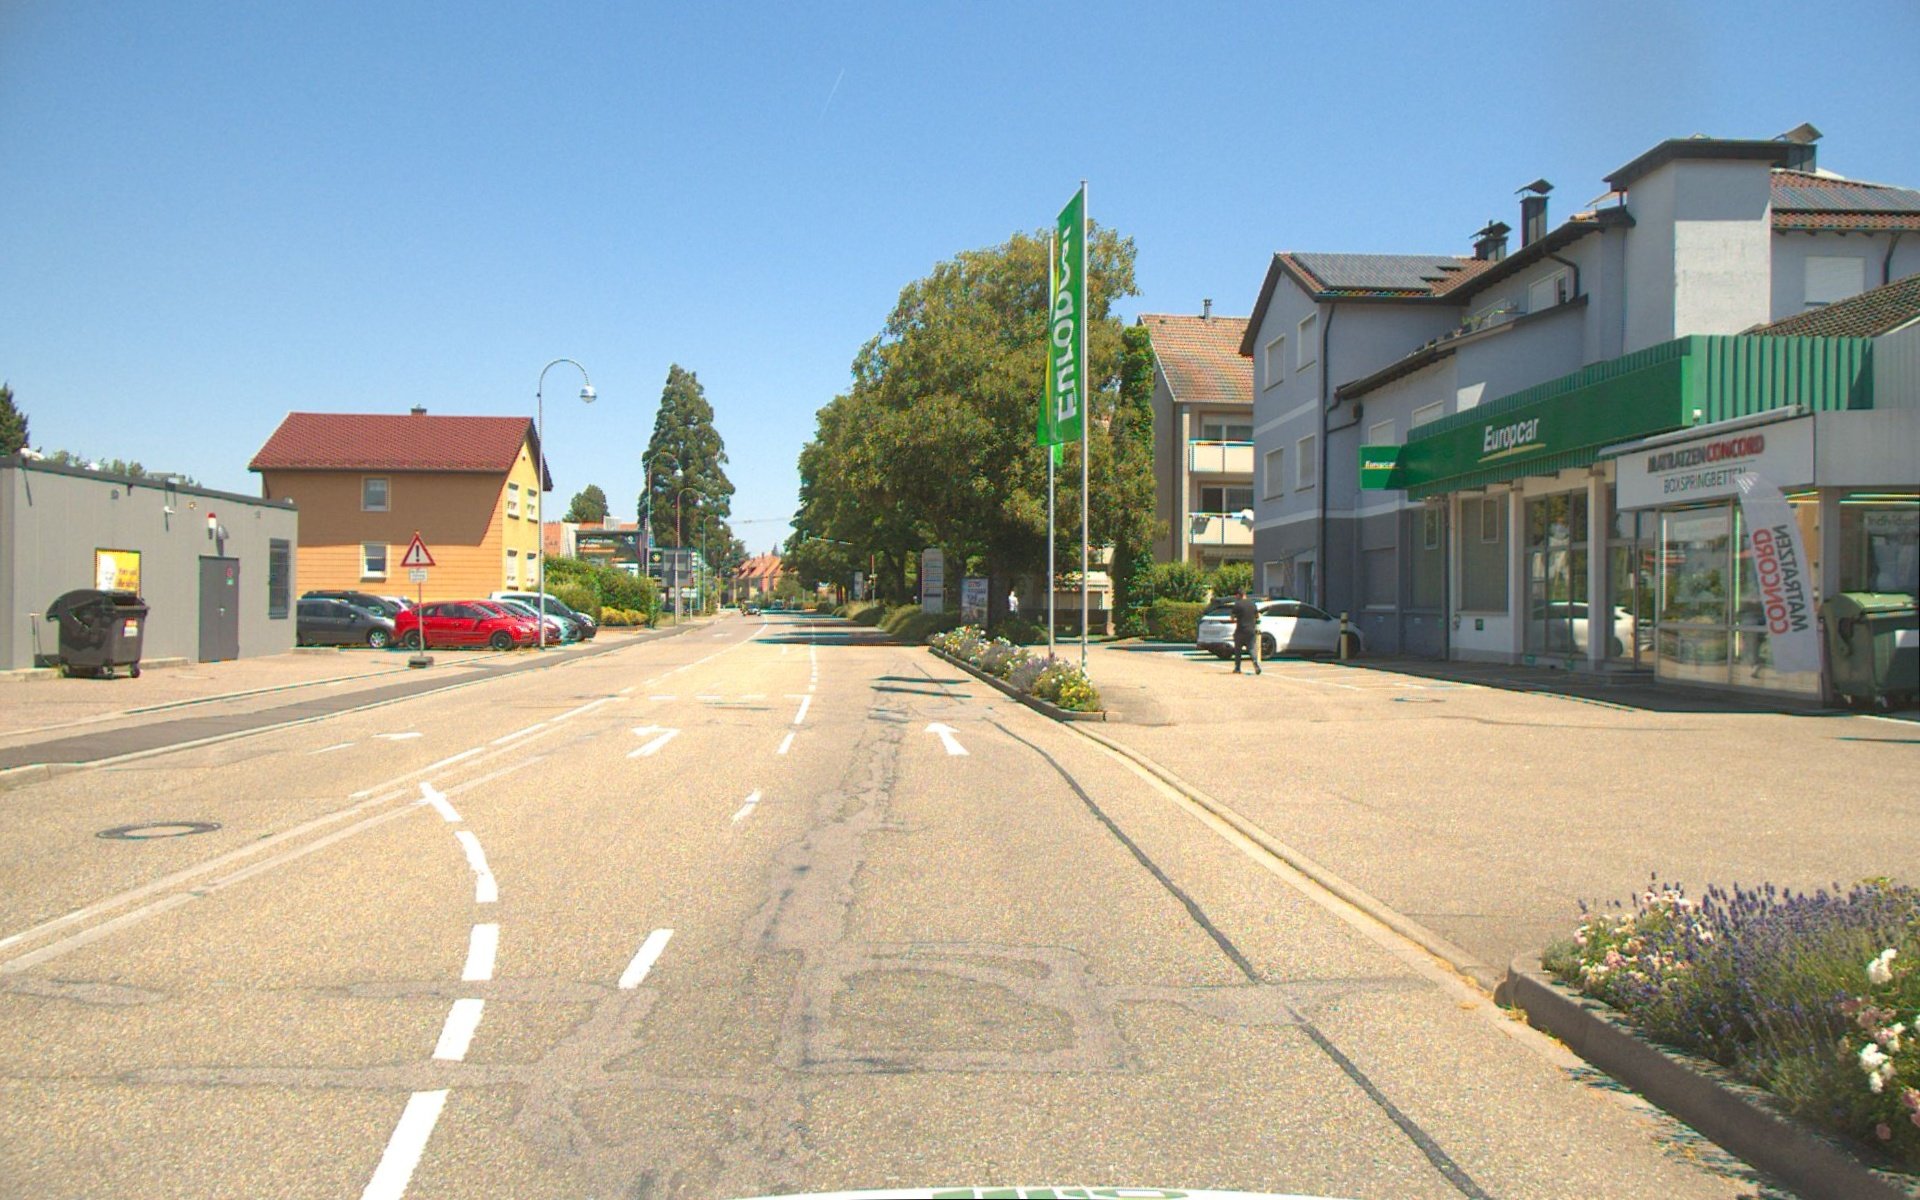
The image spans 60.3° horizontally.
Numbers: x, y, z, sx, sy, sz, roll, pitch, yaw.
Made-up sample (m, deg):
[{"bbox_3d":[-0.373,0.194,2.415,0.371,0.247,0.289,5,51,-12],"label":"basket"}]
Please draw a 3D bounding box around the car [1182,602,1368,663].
[{"bbox_3d":[7.834,0.781,41.057,4.293,1.395,1.938,-1,0,-28],"label":"car"}]

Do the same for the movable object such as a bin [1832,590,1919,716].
[{"bbox_3d":[11.685,0.622,20.287,1.531,1.447,0.702,-3,0,2],"label":"movable object such as a bin"}]

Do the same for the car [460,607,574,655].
[{"bbox_3d":[-15.554,1.075,58.224,3.594,1.608,1.919,-1,0,-7],"label":"car"}]

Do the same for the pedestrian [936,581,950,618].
[{"bbox_3d":[-0.894,-0.021,87.916,0.689,1.948,0.660,-1,0,-2],"label":"pedestrian"}]

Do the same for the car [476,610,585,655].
[{"bbox_3d":[-15.644,1.168,60.334,3.594,1.558,1.919,-1,0,-7],"label":"car"}]

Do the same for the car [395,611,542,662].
[{"bbox_3d":[-15.146,1.111,51.140,4.046,1.469,1.825,-1,0,-6],"label":"car"}]

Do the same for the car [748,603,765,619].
[{"bbox_3d":[-20.919,1.159,170.104,1.677,1.521,4.273,-1,1,-6],"label":"car"}]

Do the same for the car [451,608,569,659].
[{"bbox_3d":[-15.222,1.112,56.061,3.594,1.633,1.879,-1,0,-7],"label":"car"}]

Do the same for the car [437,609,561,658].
[{"bbox_3d":[-14.876,1.069,53.562,3.594,1.483,1.889,-1,0,-7],"label":"car"}]

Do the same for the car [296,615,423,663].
[{"bbox_3d":[-19.775,1.280,54.588,3.594,1.483,1.889,-1,0,-7],"label":"car"}]

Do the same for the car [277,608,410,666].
[{"bbox_3d":[-19.560,1.169,52.640,3.594,1.739,1.889,-1,0,-8],"label":"car"}]

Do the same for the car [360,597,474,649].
[{"bbox_3d":[-19.643,0.816,59.948,3.594,1.807,1.919,-1,0,-7],"label":"car"}]

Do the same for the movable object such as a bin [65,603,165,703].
[{"bbox_3d":[-14.240,0.874,27.917,0.933,1.543,1.427,3,1,-4],"label":"movable object such as a bin"}]

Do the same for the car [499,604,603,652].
[{"bbox_3d":[-15.446,1.039,62.634,3.594,1.702,1.919,-1,0,-7],"label":"car"}]

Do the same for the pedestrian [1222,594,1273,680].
[{"bbox_3d":[5.717,0.723,32.923,0.823,1.670,1.010,-1,0,0],"label":"pedestrian"}]

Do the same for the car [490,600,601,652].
[{"bbox_3d":[-16.149,1.002,64.668,4.019,1.931,1.995,-1,0,-10],"label":"car"}]
